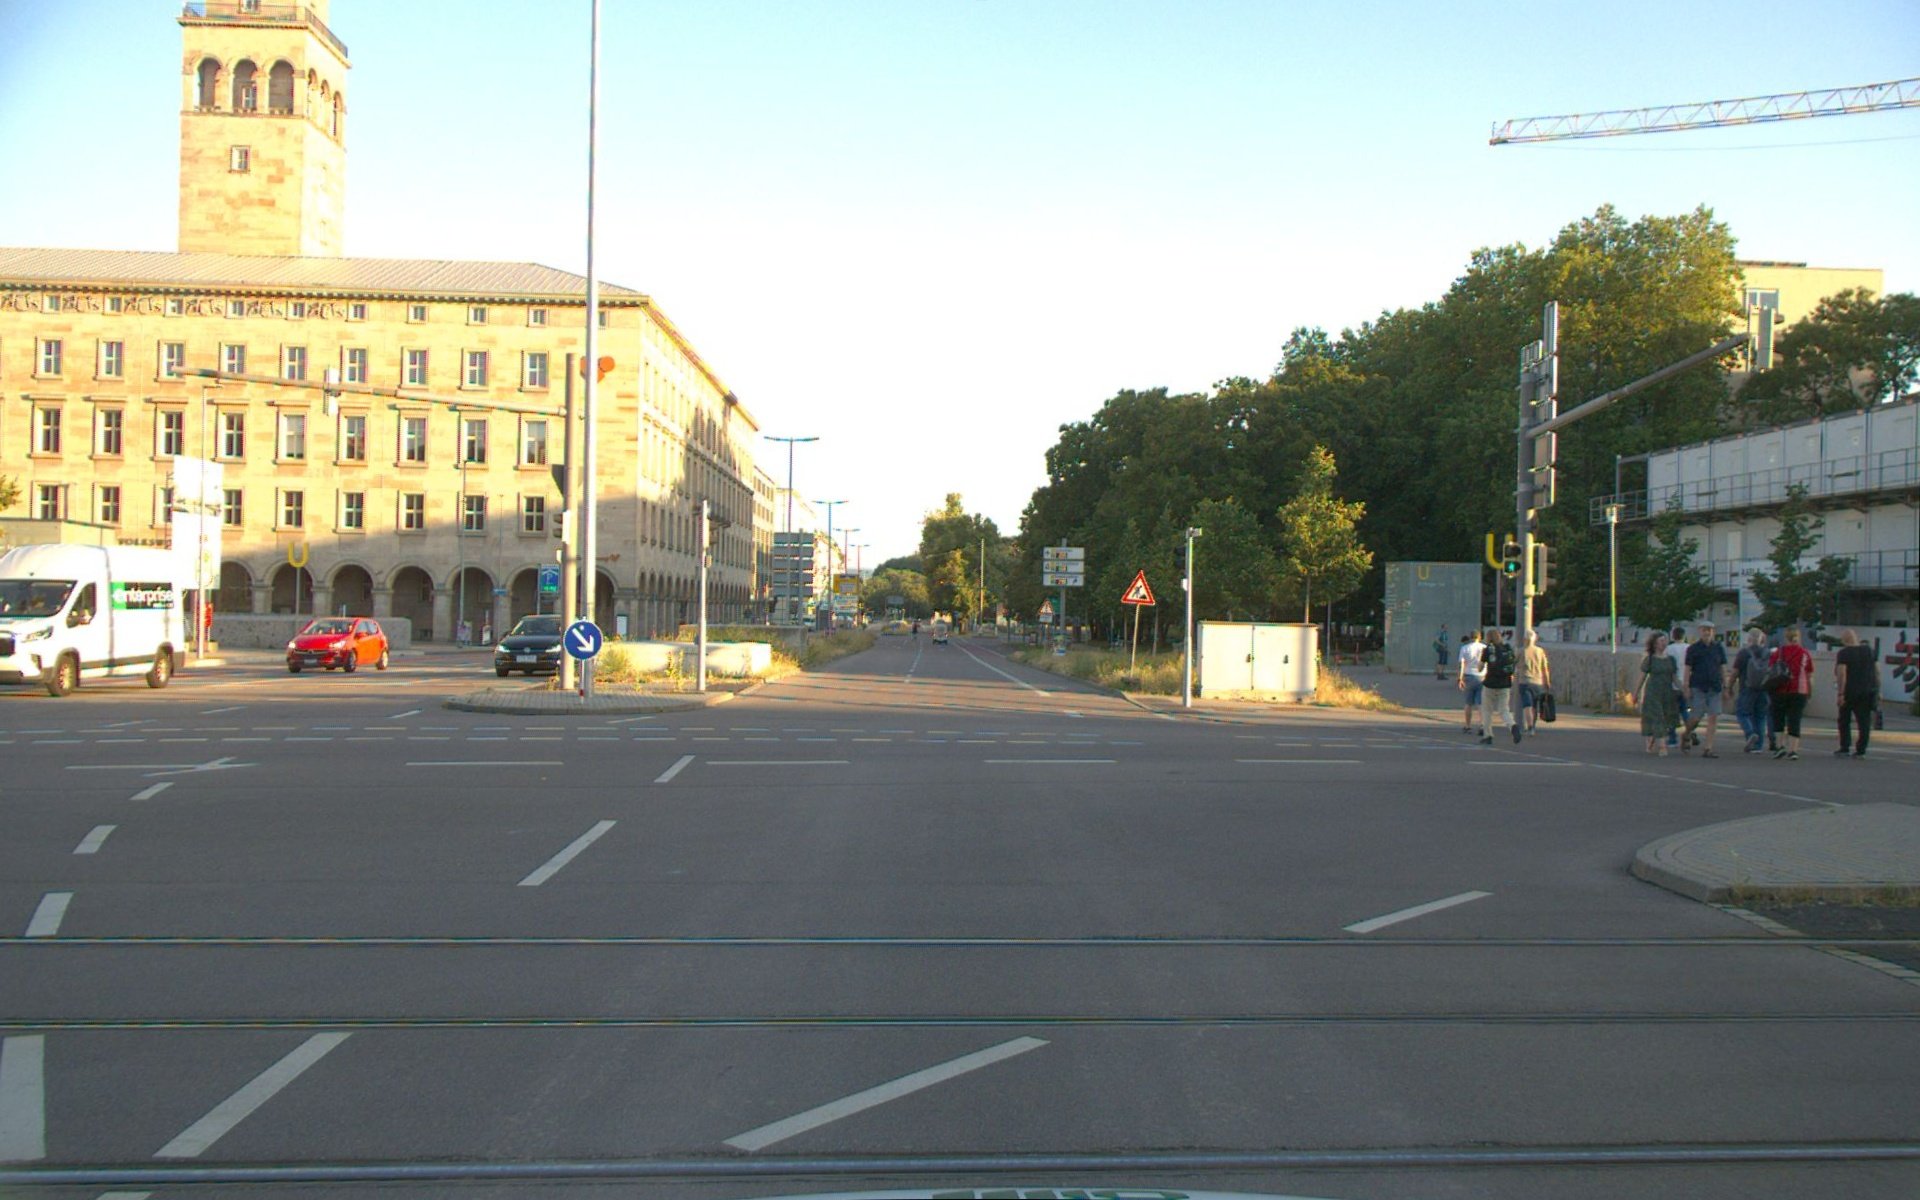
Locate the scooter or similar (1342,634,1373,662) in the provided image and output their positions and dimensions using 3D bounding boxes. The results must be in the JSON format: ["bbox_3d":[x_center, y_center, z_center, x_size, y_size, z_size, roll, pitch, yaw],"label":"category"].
[{"bbox_3d":[18.138,2.179,75.584,0.558,1.224,2.982,1,0,-3],"label":"scooter or similar"}]

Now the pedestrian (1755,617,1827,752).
[{"bbox_3d":[11.192,1.114,22.295,0.688,1.765,0.848,1,0,14],"label":"pedestrian"}]

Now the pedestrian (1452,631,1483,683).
[{"bbox_3d":[14.618,1.641,47.629,0.652,1.475,0.713,1,0,-1],"label":"pedestrian"}]

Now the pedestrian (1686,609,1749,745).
[{"bbox_3d":[10.302,1.027,22.519,0.665,1.788,0.902,1,0,19],"label":"pedestrian"}]

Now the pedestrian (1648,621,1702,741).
[{"bbox_3d":[10.750,1.200,24.881,0.696,1.755,0.915,1,0,22],"label":"pedestrian"}]

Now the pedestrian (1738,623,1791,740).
[{"bbox_3d":[12.034,1.199,24.747,0.560,1.708,0.639,1,0,12],"label":"pedestrian"}]

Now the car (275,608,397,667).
[{"bbox_3d":[-17.075,0.988,45.467,1.702,1.513,4.001,1,0,2],"label":"car"}]

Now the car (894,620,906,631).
[{"bbox_3d":[-7.402,3.169,202.584,1.342,1.256,3.045,1,0,0],"label":"car"}]

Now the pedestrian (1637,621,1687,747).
[{"bbox_3d":[9.642,1.134,22.734,0.548,1.684,0.902,1,0,19],"label":"pedestrian"}]

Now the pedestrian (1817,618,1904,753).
[{"bbox_3d":[12.539,1.179,23.056,0.788,1.823,0.801,1,0,4],"label":"pedestrian"}]

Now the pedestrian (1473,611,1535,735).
[{"bbox_3d":[7.961,1.046,24.216,0.695,1.755,0.916,1,0,9],"label":"pedestrian"}]

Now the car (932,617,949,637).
[{"bbox_3d":[-1.766,2.428,147.632,1.453,1.725,2.973,1,0,-1],"label":"car"}]

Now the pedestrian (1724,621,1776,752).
[{"bbox_3d":[11.252,1.221,23.560,0.560,1.823,0.639,1,0,17],"label":"pedestrian"}]

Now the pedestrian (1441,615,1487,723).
[{"bbox_3d":[8.454,1.145,27.744,0.696,1.755,0.669,1,0,15],"label":"pedestrian"}]

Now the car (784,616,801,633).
[{"bbox_3d":[-17.109,2.488,169.220,1.525,1.618,3.997,1,0,-4],"label":"car"}]

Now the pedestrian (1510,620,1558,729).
[{"bbox_3d":[9.536,1.226,27.495,0.696,1.755,0.669,1,0,15],"label":"pedestrian"}]

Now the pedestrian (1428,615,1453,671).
[{"bbox_3d":[16.111,1.438,55.485,0.652,1.875,0.713,1,0,3],"label":"pedestrian"}]

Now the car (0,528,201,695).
[{"bbox_3d":[-16.682,0.203,30.987,2.233,2.825,6.081,1,0,-2],"label":"car"}]

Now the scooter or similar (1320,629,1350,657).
[{"bbox_3d":[17.119,1.953,75.504,0.558,1.224,2.982,1,0,-3],"label":"scooter or similar"}]

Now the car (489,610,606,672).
[{"bbox_3d":[-9.871,0.947,39.896,1.785,1.365,4.000,1,0,0],"label":"car"}]

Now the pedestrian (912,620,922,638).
[{"bbox_3d":[-4.215,2.813,161.913,0.888,1.700,1.306,1,0,-3],"label":"pedestrian"}]
